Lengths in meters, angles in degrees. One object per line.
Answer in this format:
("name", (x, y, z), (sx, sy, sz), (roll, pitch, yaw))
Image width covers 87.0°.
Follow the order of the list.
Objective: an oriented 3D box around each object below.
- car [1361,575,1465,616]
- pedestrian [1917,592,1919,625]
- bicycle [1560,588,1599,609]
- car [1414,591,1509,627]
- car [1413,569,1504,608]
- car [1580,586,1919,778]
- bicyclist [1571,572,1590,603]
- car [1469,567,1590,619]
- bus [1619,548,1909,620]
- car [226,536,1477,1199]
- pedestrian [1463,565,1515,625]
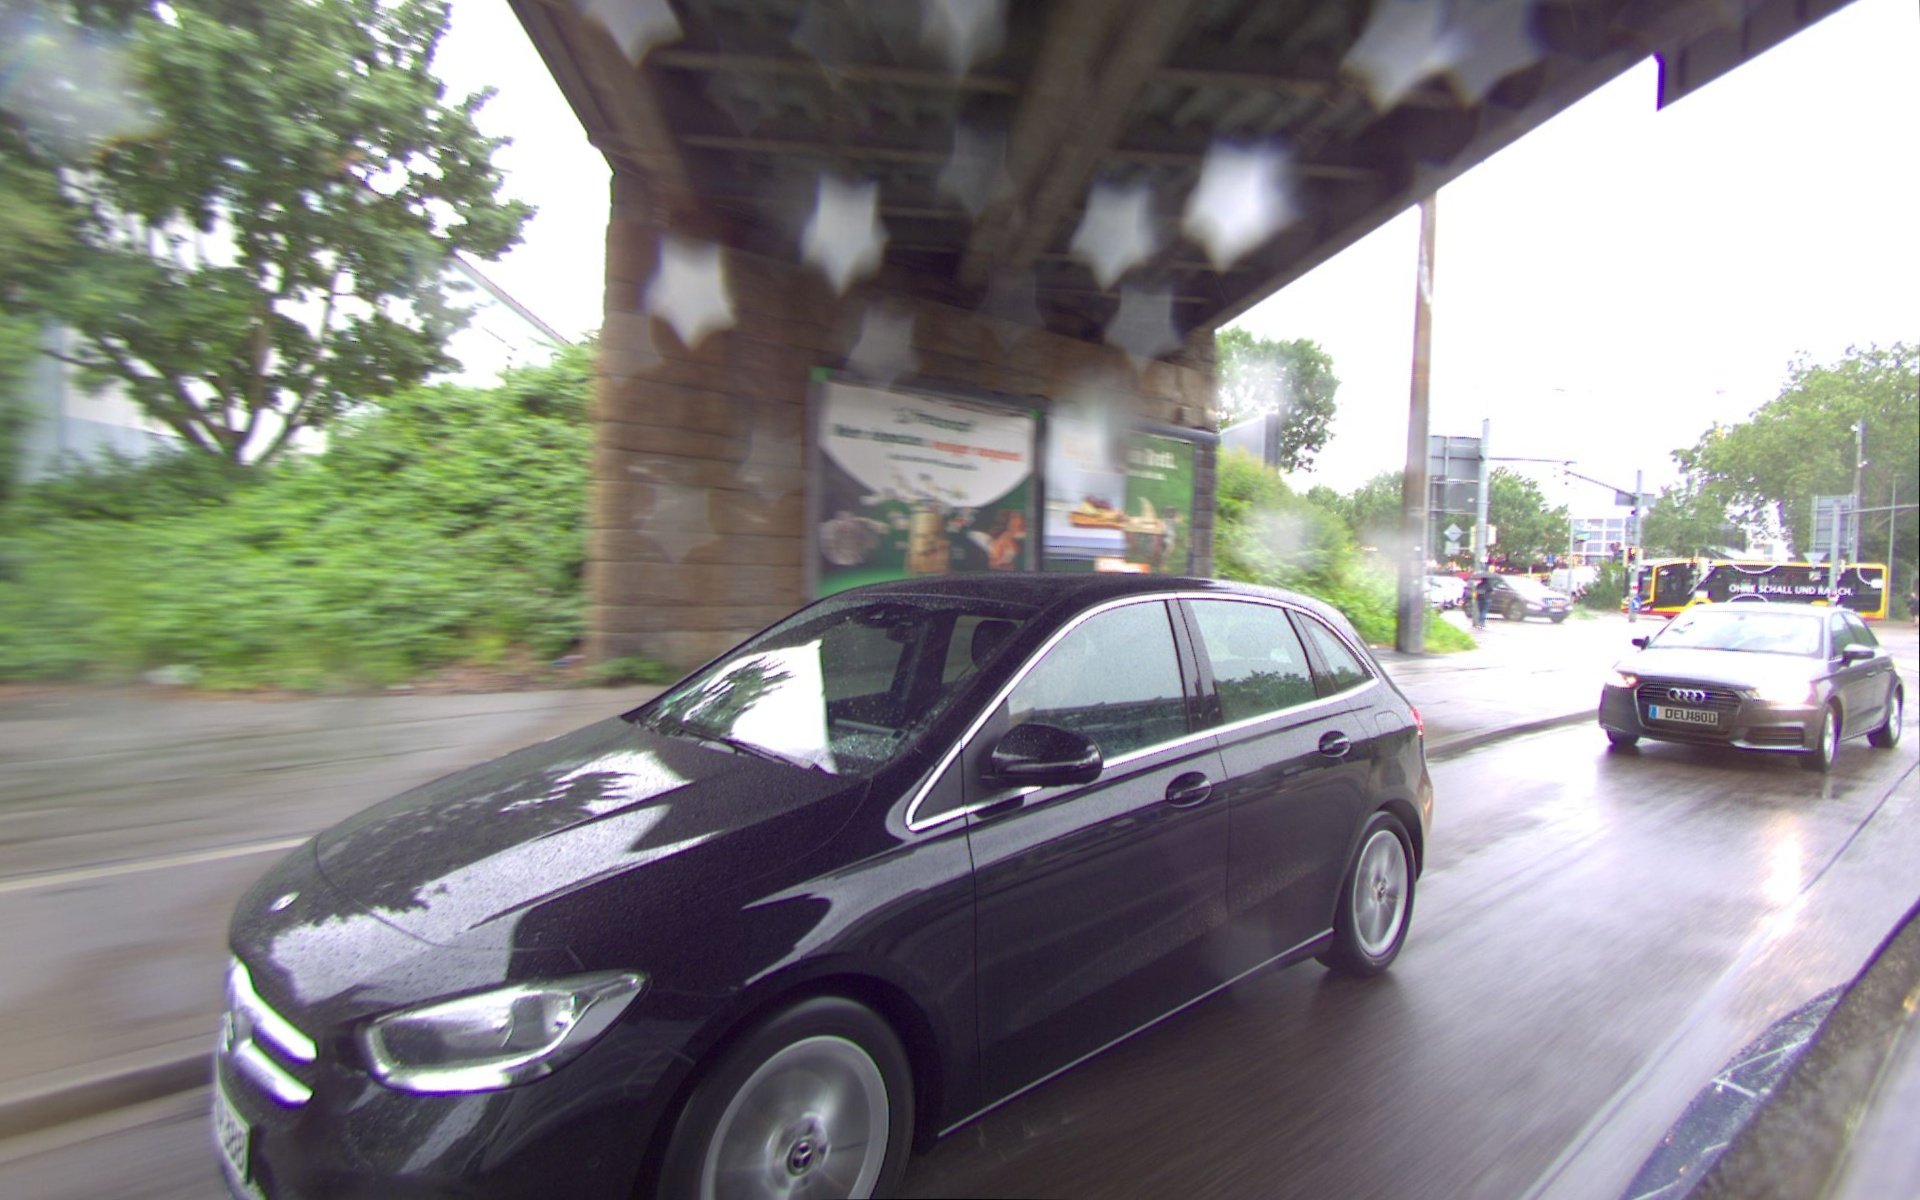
("car", (17.996, -0.225, 40.400), (1.859, 1.365, 4.009), (1, 3, -9))
("pedestrian", (49.949, 0.460, 52.237), (0.614, 1.672, 0.645), (2, 1, -35))
("bicycle", (39.384, -0.117, 64.370), (0.805, 1.179, 2.264), (1, 2, -7))
("car", (22.868, 0.384, 46.333), (1.795, 1.374, 4.009), (1, 3, -10))
("car", (25.120, -0.624, 51.165), (2.133, 1.741, 4.309), (2, 3, -5))
("car", (7.746, 0.615, 9.755), (3.685, 1.415, 1.841), (-1, 3, -38))
("bicyclist", (39.404, -0.814, 64.260), (0.754, 1.904, 0.623), (1, 2, -6))
("car", (21.241, -0.308, 37.926), (1.989, 1.677, 4.066), (2, 3, -3))
("bus", (42.227, -0.925, 53.551), (12.071, 3.308, 3.272), (2, 2, 5))
("car", (0.011, 0.645, 3.528), (4.017, 1.542, 1.873), (0, 1, -42))
("pedestrian", (15.786, -0.151, 30.213), (0.984, 1.740, 0.822), (2, 2, -14))
